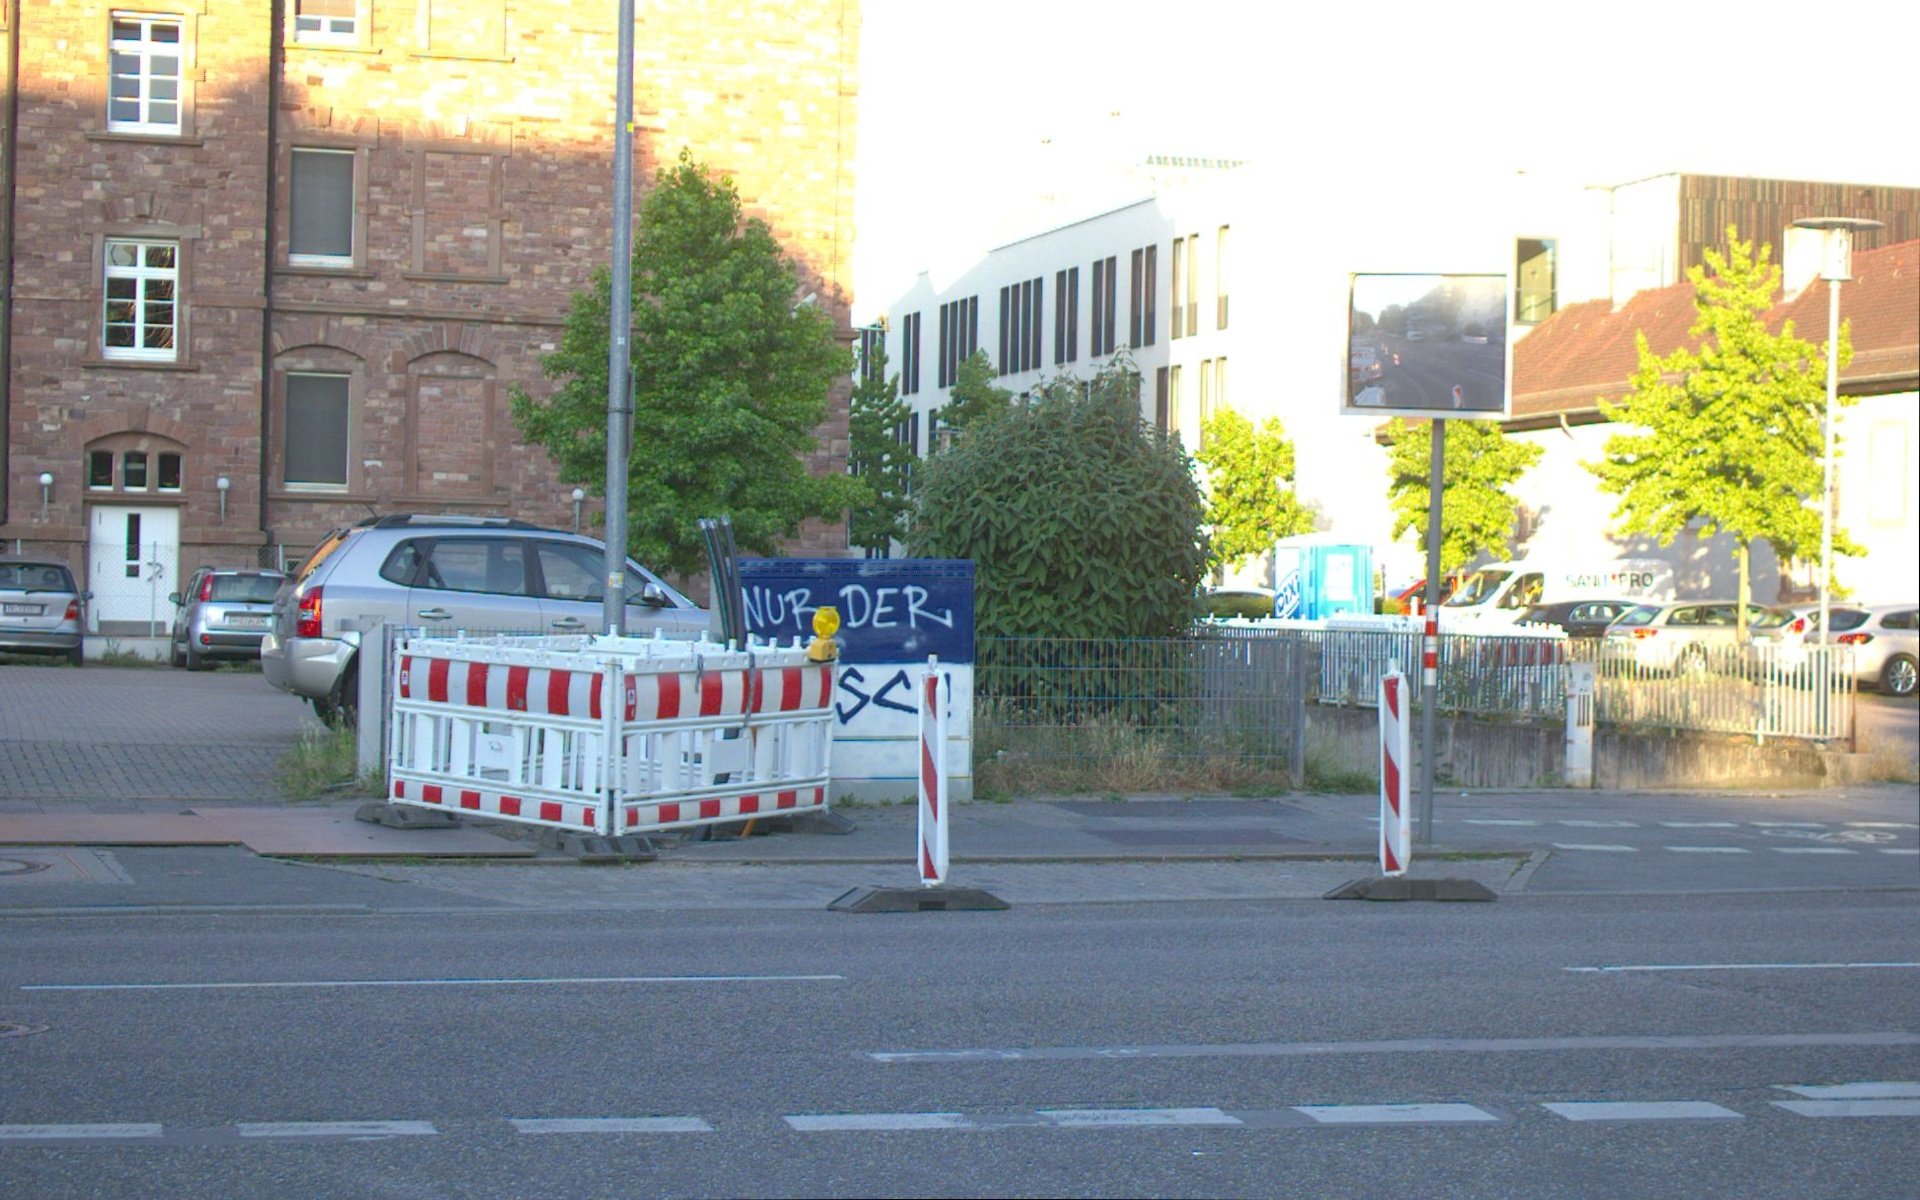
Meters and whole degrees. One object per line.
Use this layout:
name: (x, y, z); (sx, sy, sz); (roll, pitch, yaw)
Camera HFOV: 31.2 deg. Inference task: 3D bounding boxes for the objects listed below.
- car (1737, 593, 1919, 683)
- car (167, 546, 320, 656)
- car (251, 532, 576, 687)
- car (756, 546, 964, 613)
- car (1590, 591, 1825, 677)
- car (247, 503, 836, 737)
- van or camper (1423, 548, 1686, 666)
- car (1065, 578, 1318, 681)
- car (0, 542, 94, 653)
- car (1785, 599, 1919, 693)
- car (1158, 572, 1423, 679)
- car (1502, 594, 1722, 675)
car: (15.163, 0.641, 57.780); (3.739, 1.440, 1.687); (1, 0, -19)
car: (-10.677, -0.012, 51.050); (1.896, 1.532, 4.180); (1, 1, -16)
car: (-6.298, 0.107, 39.538); (3.474, 1.703, 1.668); (1, 0, -17)
car: (-2.112, -0.422, 72.070); (3.986, 1.308, 1.878); (1, 0, -17)
car: (13.355, 0.610, 61.458); (3.739, 1.440, 1.687); (1, 0, -19)
car: (-3.260, 0.158, 26.616); (4.268, 1.703, 1.703); (1, 0, -17)
van or camper: (11.918, 0.152, 68.873); (4.961, 2.233, 1.687); (1, 0, -19)
car: (3.791, 0.487, 56.420); (3.739, 1.597, 1.687); (1, 0, -19)
car: (-13.749, -0.069, 50.379); (1.896, 1.532, 4.180); (1, 1, -16)
car: (15.349, 0.752, 55.234); (3.739, 1.440, 1.687); (1, 0, -19)
car: (5.152, 0.395, 53.646); (3.739, 1.597, 1.687); (1, 0, -19)
car: (12.423, 0.654, 65.546); (3.739, 1.440, 1.687); (1, 0, -19)
